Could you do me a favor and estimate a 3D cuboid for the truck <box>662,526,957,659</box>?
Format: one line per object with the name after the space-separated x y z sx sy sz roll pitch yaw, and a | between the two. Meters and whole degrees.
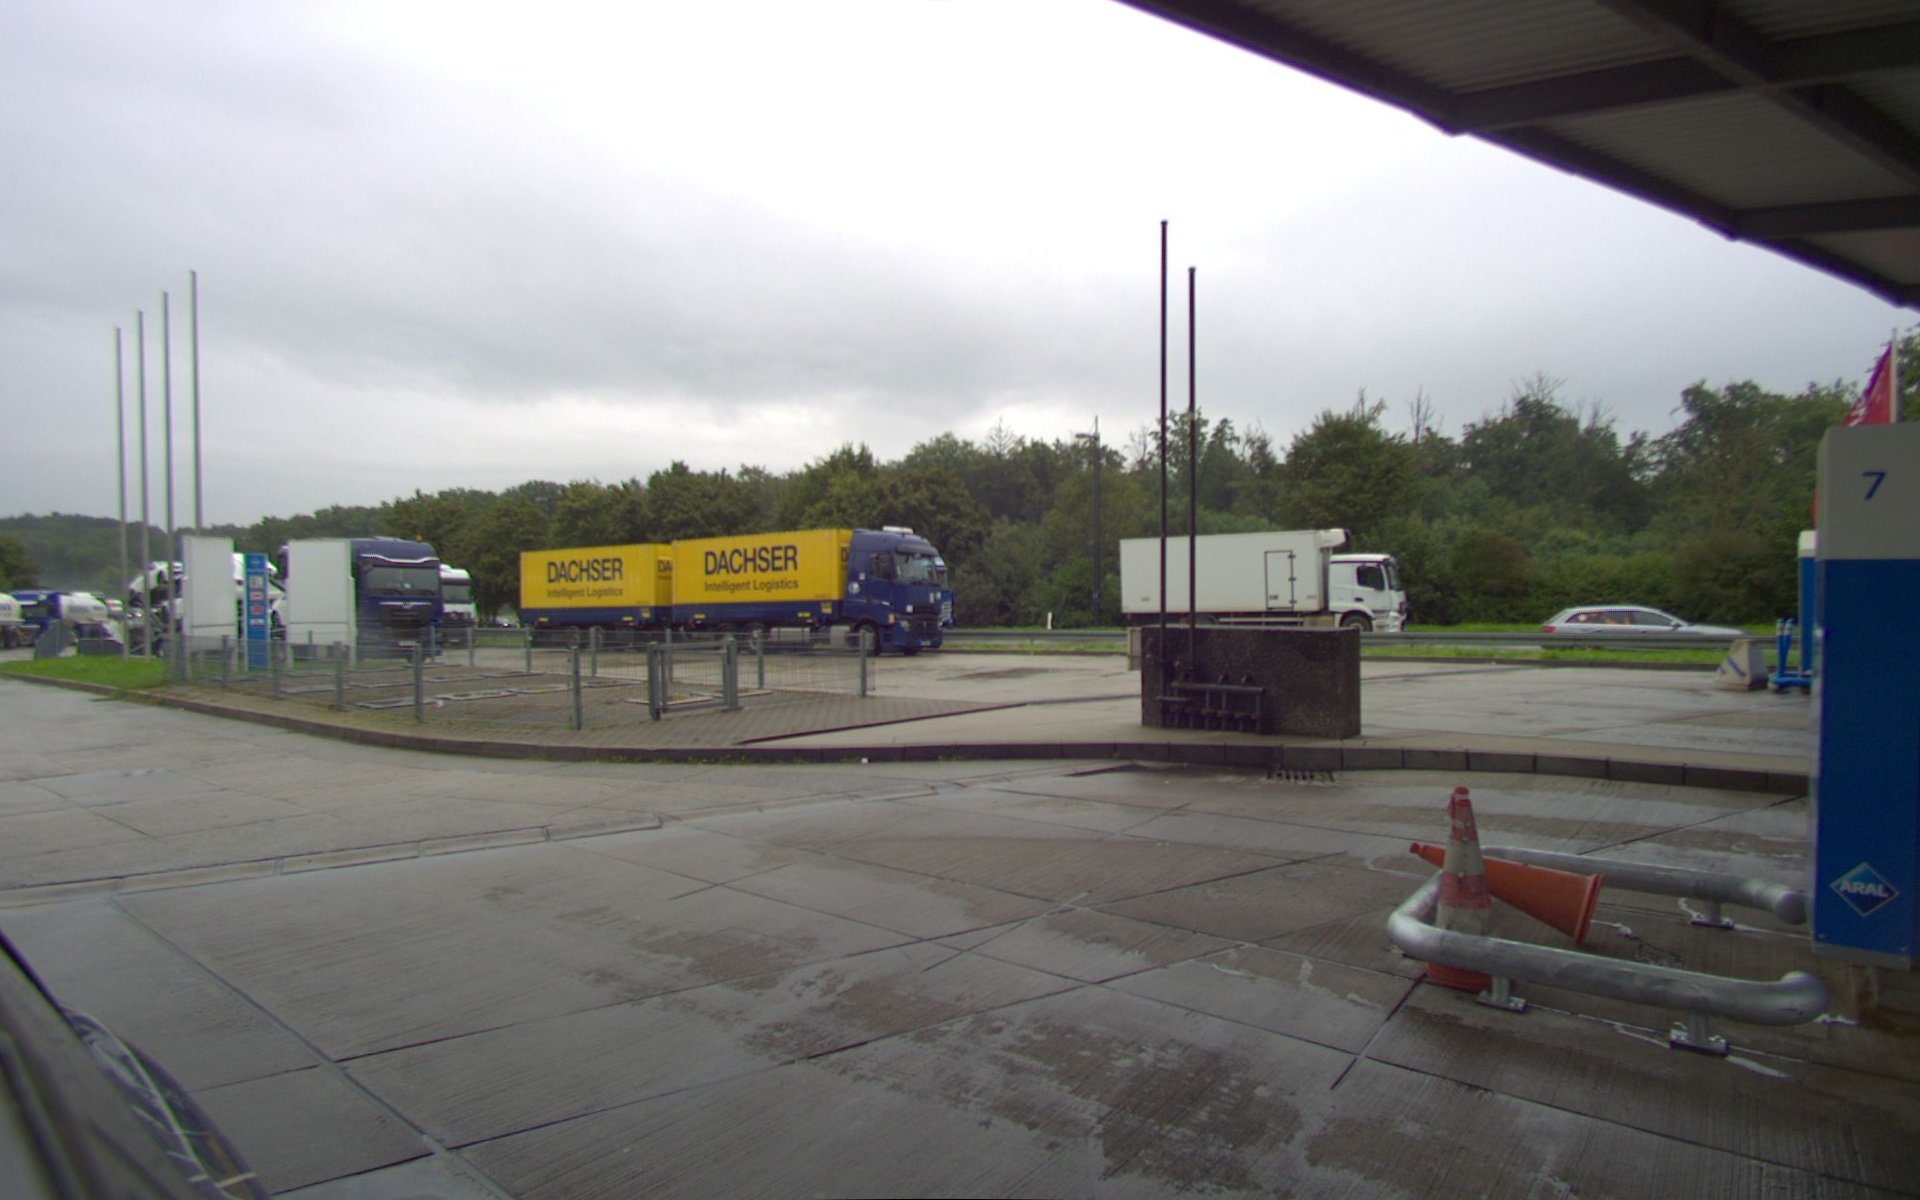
-5.306 -0.178 34.008 10.654 3.946 2.727 -1 0 33 | truck

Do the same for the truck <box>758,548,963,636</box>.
-4.847 -0.313 47.623 10.195 3.836 2.395 -1 0 31 | truck

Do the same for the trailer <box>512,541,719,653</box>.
-13.468 -0.073 39.238 8.679 3.946 2.728 -1 0 32 | trailer

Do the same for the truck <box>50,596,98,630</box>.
-137.878 2.014 157.438 11.498 5.160 3.109 -1 0 36 | truck

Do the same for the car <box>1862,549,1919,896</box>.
6.938 0.540 3.778 5.269 1.620 1.842 -1 0 41 | car

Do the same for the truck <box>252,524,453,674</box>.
-18.979 0.010 31.458 7.089 4.213 2.635 -1 0 35 | truck

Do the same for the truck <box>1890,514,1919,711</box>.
15.021 0.123 11.931 5.859 2.513 2.208 -1 0 41 | truck

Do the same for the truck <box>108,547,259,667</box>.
-29.558 0.298 38.429 6.605 4.213 2.635 -1 0 35 | truck

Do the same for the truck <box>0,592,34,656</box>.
-55.123 1.338 53.673 3.454 3.633 14.444 -1 -1 -19 | truck

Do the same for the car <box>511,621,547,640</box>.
-45.067 3.195 105.815 3.998 1.837 1.865 -1 0 41 | car

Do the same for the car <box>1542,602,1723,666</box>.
18.095 0.870 27.469 3.985 1.641 1.759 0 0 31 | car

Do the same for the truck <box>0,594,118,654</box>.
-61.460 1.623 68.641 3.454 3.633 14.709 -1 -1 -27 | truck

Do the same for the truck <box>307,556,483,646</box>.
-27.286 0.104 48.610 10.654 3.946 2.727 -1 0 33 | truck

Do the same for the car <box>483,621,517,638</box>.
-52.316 3.287 115.120 3.995 1.837 1.866 -1 0 39 | car

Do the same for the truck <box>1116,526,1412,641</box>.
11.000 -0.517 37.426 10.195 3.836 2.395 -1 0 31 | truck

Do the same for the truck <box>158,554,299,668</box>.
-26.076 0.395 36.055 4.738 3.800 2.635 -1 0 34 | truck
